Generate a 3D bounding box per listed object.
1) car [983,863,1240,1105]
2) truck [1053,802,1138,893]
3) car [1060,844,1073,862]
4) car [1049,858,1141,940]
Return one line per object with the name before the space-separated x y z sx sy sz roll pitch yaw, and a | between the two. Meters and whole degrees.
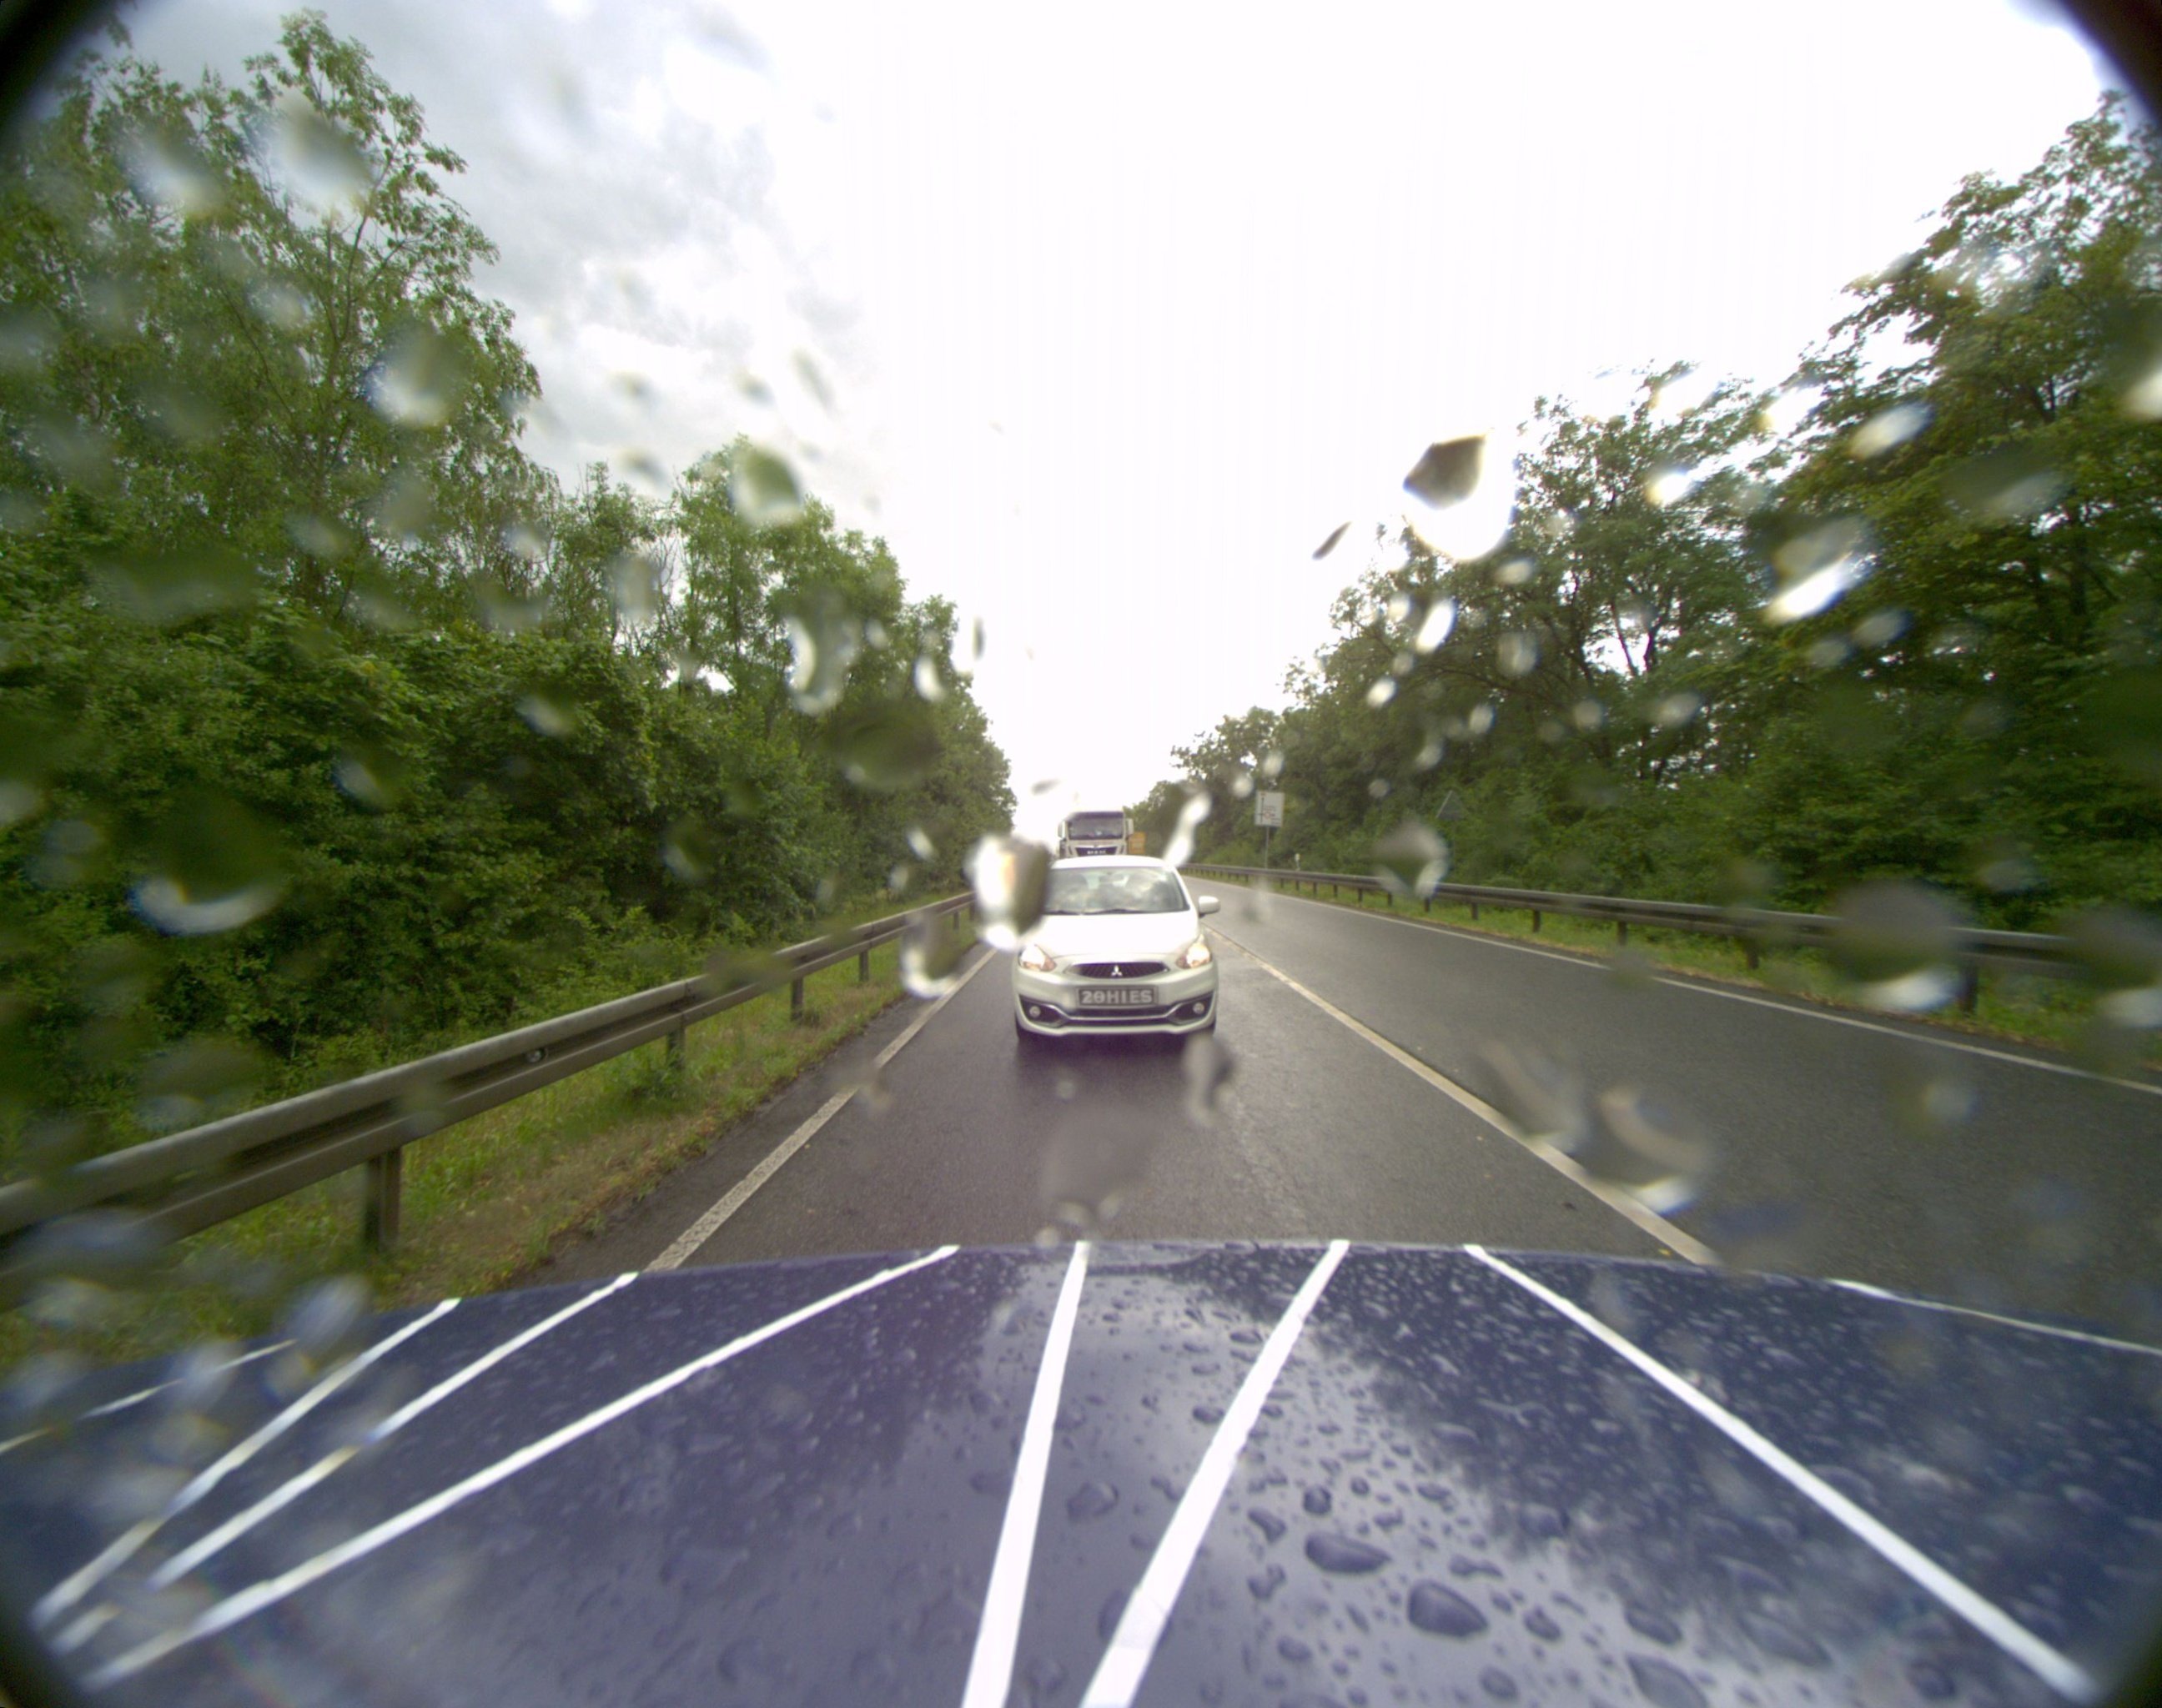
car | 0.256 0.873 7.028 1.610 1.435 4.209 -2 0 2
truck | 0.614 -0.310 33.622 3.136 3.364 9.282 -2 1 1
car | -2.053 -0.171 107.140 1.613 2.422 3.999 -2 1 -1
car | 0.316 0.828 16.103 1.640 1.413 4.492 -2 0 2
